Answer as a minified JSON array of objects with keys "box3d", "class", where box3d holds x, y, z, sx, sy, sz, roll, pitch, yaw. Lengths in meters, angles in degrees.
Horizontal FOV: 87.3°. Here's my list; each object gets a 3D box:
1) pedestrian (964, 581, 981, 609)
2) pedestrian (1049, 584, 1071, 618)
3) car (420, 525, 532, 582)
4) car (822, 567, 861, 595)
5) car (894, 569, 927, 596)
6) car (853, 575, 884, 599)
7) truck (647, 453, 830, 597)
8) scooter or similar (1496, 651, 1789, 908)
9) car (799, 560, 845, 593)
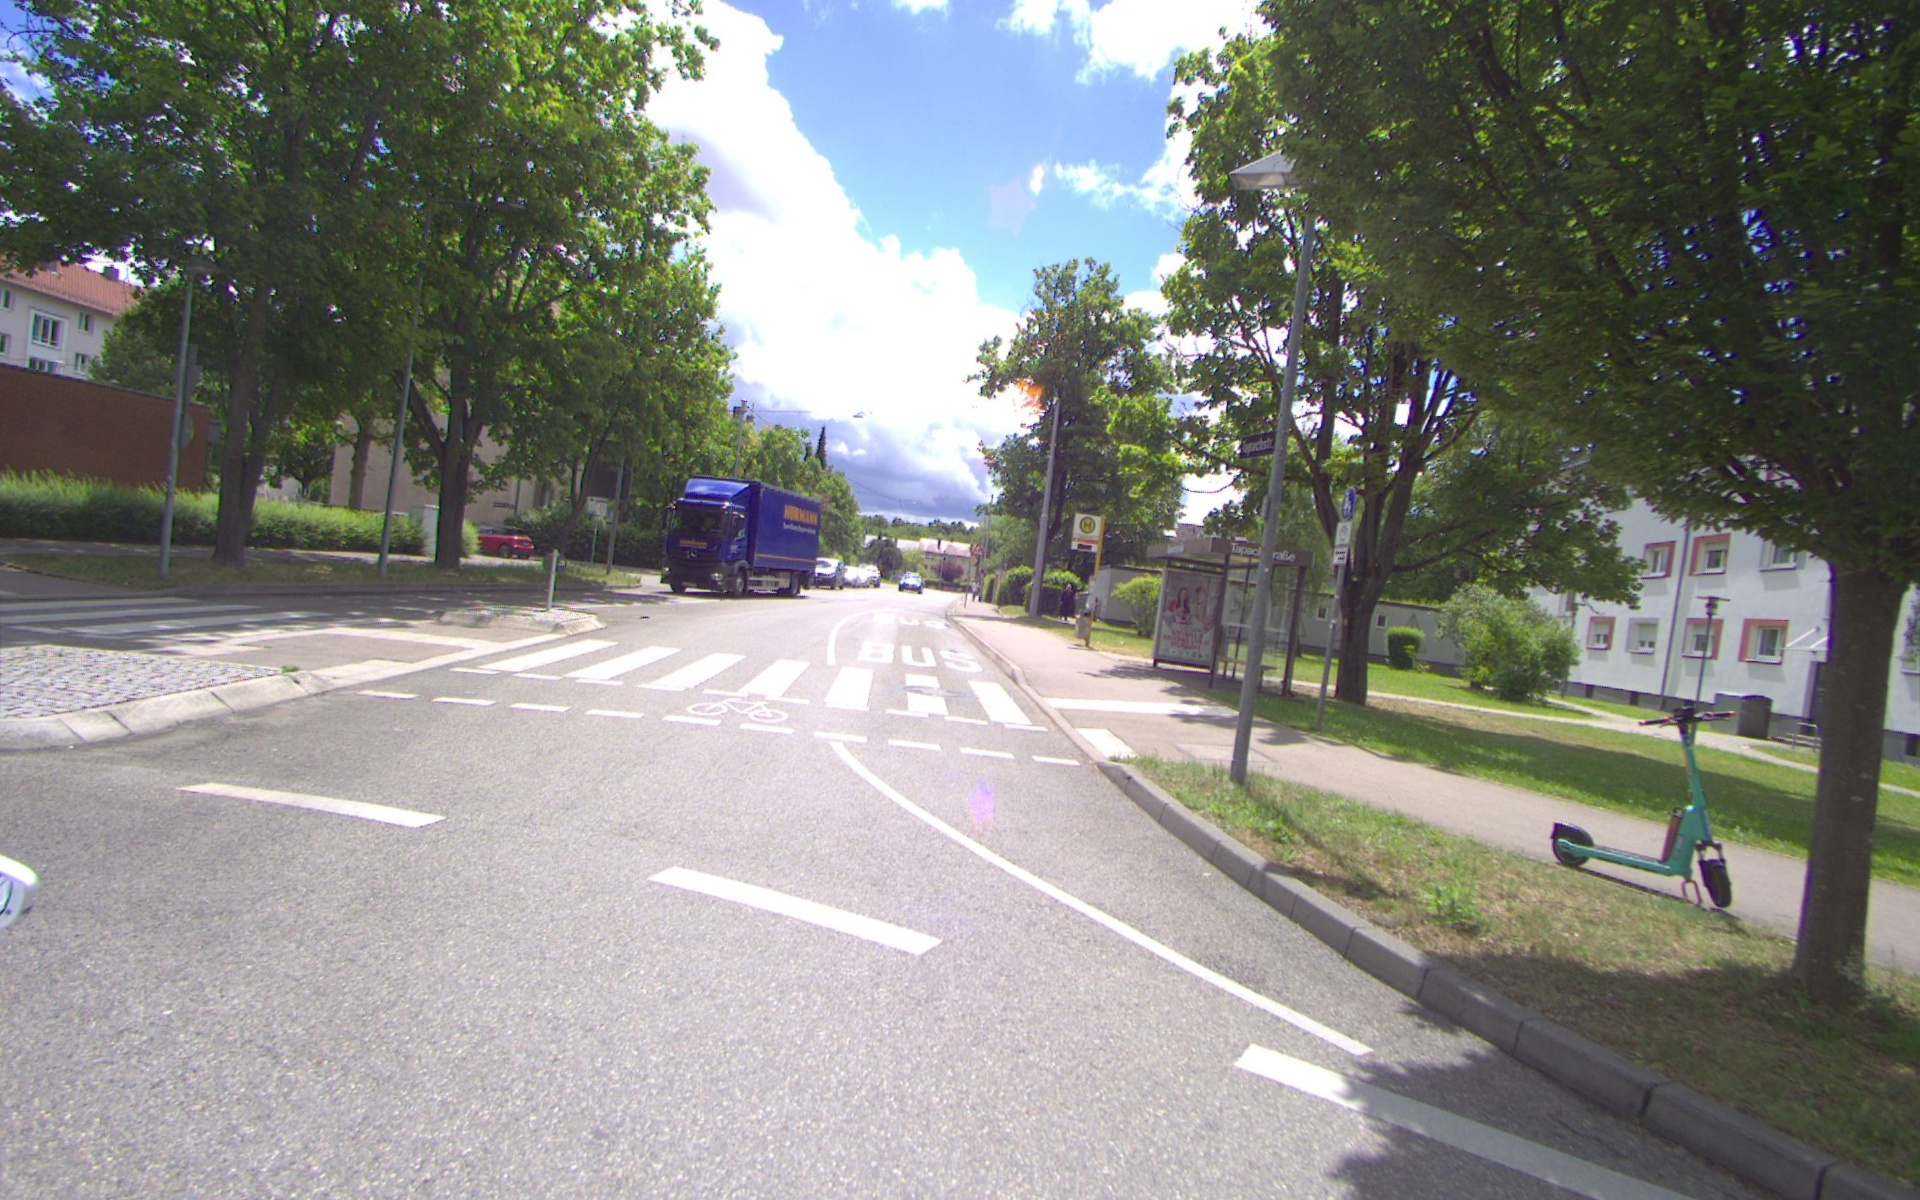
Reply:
[{"box3d":[0.973,-0.398,77.391,1.005,2.040,1.040,7,3,-1],"class":"pedestrian"},{"box3d":[5.088,0.055,51.326,0.886,1.602,0.660,7,3,9],"class":"pedestrian"},{"box3d":[-21.983,-2.100,45.752,3.925,1.965,2.019,8,0,4],"class":"car"},{"box3d":[-8.110,-1.274,69.187,1.963,1.572,4.000,8,0,0],"class":"car"},{"box3d":[-3.933,-1.379,80.557,1.962,1.802,4.001,8,0,4],"class":"car"},{"box3d":[-7.338,-1.056,81.190,1.963,1.572,4.000,8,0,0],"class":"car"},{"box3d":[-7.838,-2.455,37.503,2.736,4.205,9.799,7,1,10],"class":"truck"},{"box3d":[4.482,1.126,6.713,0.481,1.361,1.375,5,4,-32],"class":"scooter or similar"},{"box3d":[-8.157,-1.366,59.847,1.963,1.572,4.000,8,0,0],"class":"car"}]
